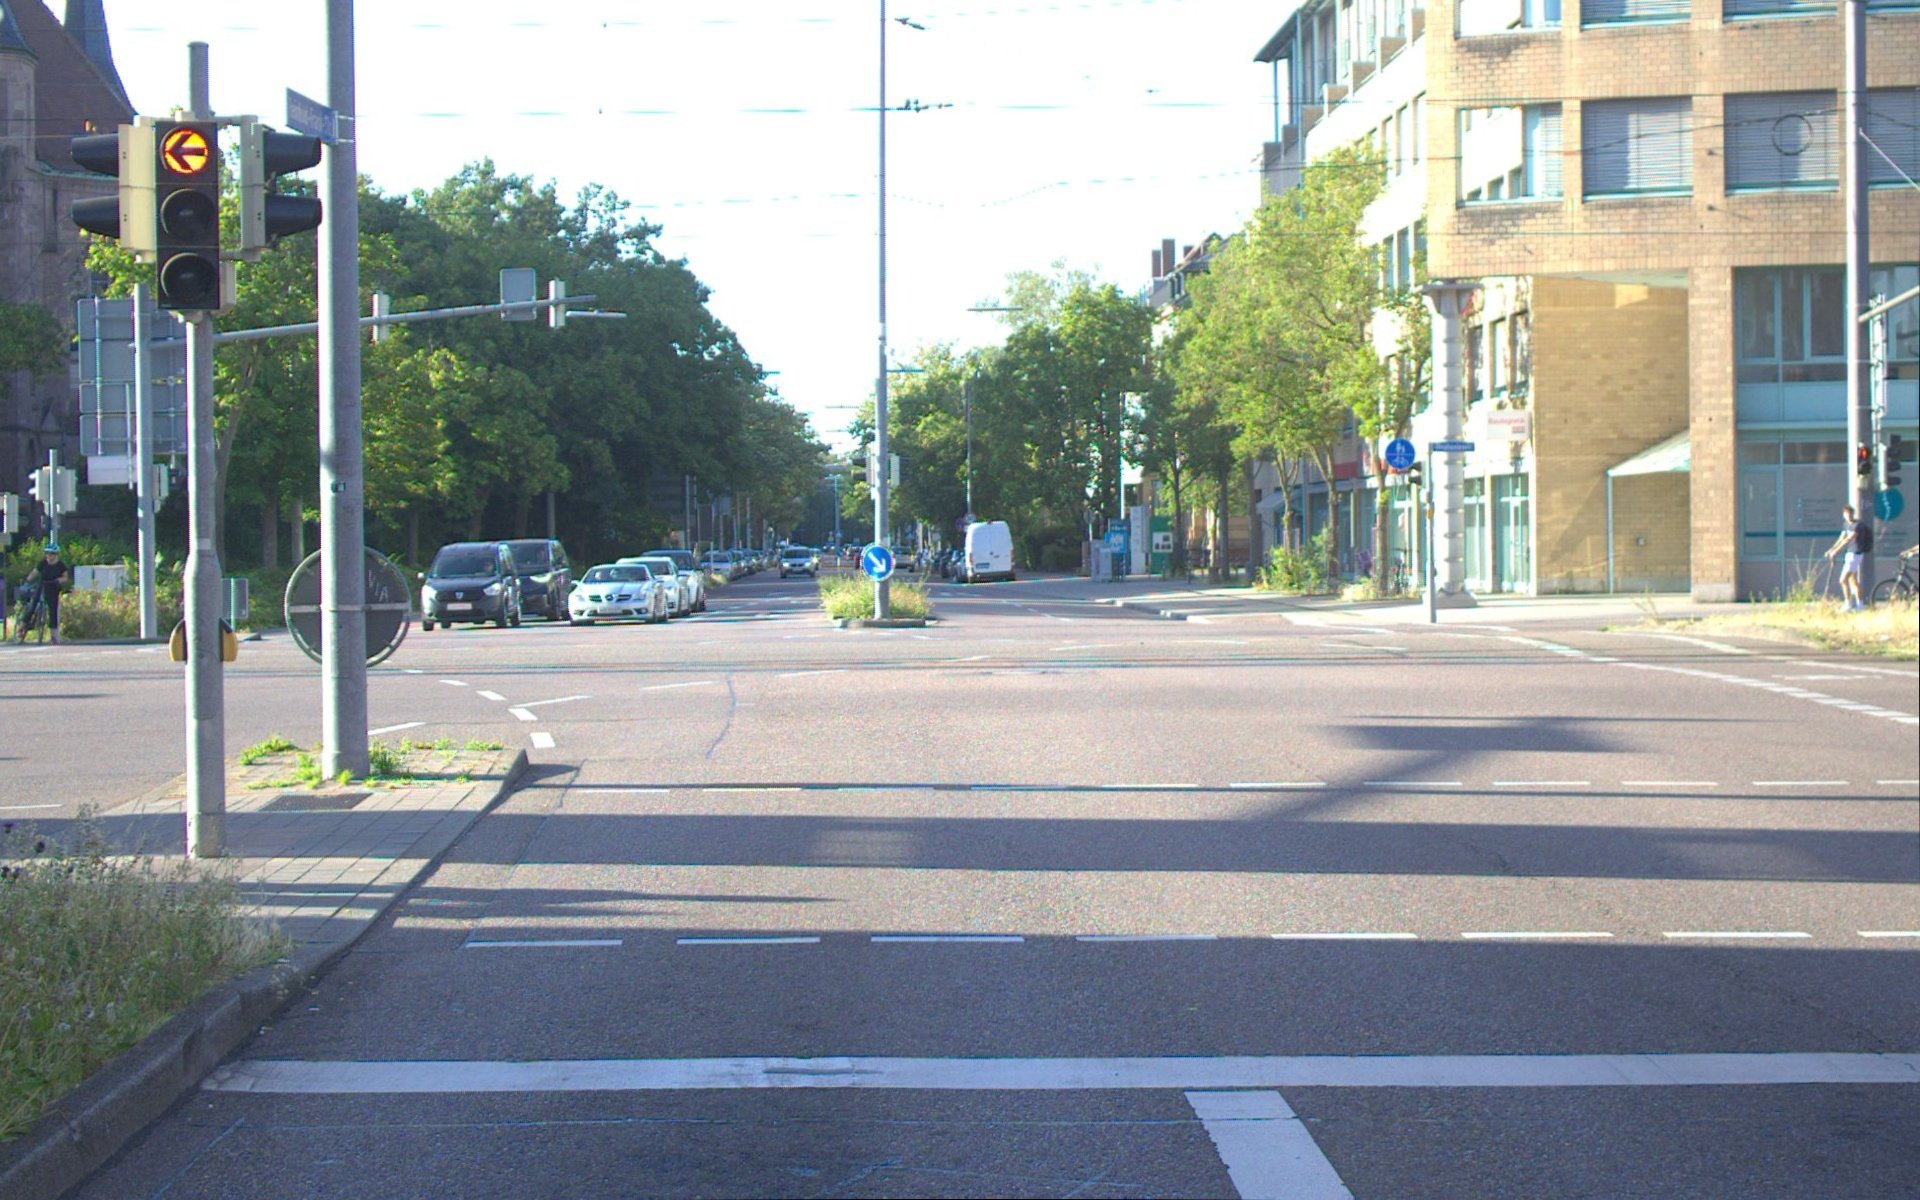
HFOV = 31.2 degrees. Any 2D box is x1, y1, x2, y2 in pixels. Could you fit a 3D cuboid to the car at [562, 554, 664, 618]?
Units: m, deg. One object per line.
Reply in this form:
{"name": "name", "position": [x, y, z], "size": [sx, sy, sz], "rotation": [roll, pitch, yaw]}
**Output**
{"name": "car", "position": [-7.135, -0.306, 71.038], "size": [1.780, 1.232, 4.000], "rotation": [0, 1, -1]}

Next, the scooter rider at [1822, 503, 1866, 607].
{"name": "scooter rider", "position": [15.540, -0.794, 60.441], "size": [0.680, 1.808, 0.475], "rotation": [-1, 1, 5]}

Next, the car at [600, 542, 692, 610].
{"name": "car", "position": [-7.059, -0.569, 77.613], "size": [1.780, 1.459, 4.000], "rotation": [0, 1, -1]}

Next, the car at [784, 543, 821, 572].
{"name": "car", "position": [-8.107, -2.182, 177.076], "size": [1.780, 1.444, 4.000], "rotation": [0, 1, -1]}

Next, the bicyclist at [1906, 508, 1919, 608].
{"name": "bicyclist", "position": [16.843, -0.730, 59.536], "size": [0.790, 1.730, 0.475], "rotation": [-1, 1, 5]}

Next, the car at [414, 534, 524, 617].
{"name": "car", "position": [-10.185, -0.537, 71.512], "size": [1.780, 1.641, 4.000], "rotation": [0, 1, -1]}

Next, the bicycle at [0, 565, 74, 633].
{"name": "bicycle", "position": [-15.815, -0.029, 58.819], "size": [0.645, 1.135, 1.679], "rotation": [-2, 2, -38]}

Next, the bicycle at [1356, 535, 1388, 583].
{"name": "bicycle", "position": [10.668, -1.070, 89.091], "size": [0.773, 1.191, 2.464], "rotation": [-1, 1, 6]}

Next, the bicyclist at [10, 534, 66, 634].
{"name": "bicyclist", "position": [-15.759, -0.276, 58.742], "size": [0.639, 1.688, 0.782], "rotation": [-2, 1, -38]}

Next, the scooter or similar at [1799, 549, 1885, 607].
{"name": "scooter or similar", "position": [15.501, -0.381, 60.448], "size": [1.401, 0.998, 0.475], "rotation": [-1, 1, 5]}

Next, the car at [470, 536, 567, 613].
{"name": "car", "position": [-10.099, -0.608, 78.916], "size": [1.780, 1.698, 4.000], "rotation": [0, 1, -1]}

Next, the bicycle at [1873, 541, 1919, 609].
{"name": "bicycle", "position": [16.636, -0.443, 59.578], "size": [1.520, 1.168, 0.475], "rotation": [-1, 1, 5]}

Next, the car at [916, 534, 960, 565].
{"name": "car", "position": [-1.198, -2.705, 181.790], "size": [1.993, 1.587, 4.001], "rotation": [-1, 1, -5]}

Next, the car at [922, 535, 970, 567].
{"name": "car", "position": [-0.715, -2.540, 176.131], "size": [1.993, 1.587, 4.001], "rotation": [-1, 1, -7]}

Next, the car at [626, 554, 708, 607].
{"name": "car", "position": [-7.230, -0.506, 85.136], "size": [1.780, 1.232, 4.000], "rotation": [0, 1, -1]}

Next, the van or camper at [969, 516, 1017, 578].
{"name": "van or camper", "position": [1.415, -2.357, 150.971], "size": [1.993, 2.631, 5.351], "rotation": [-1, 1, 0]}
